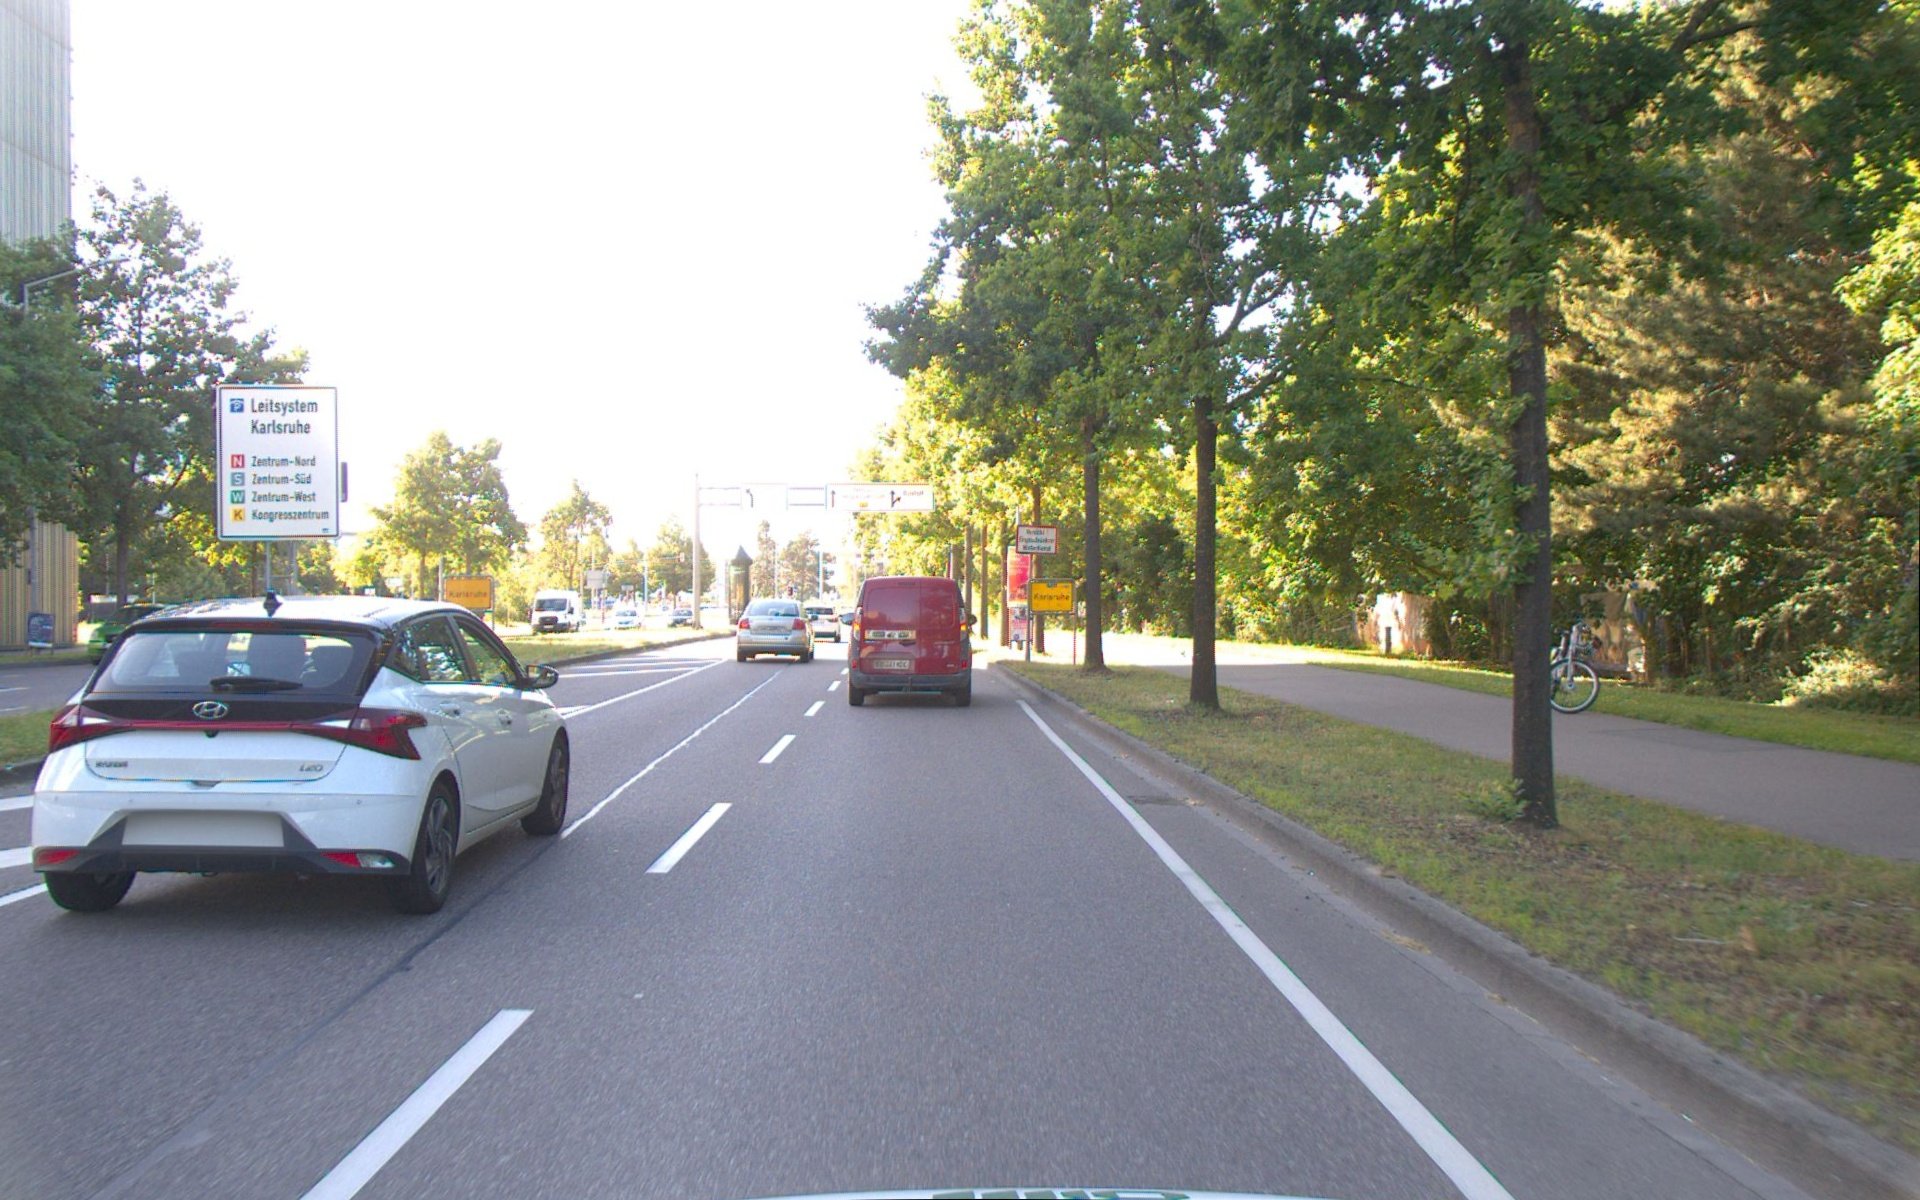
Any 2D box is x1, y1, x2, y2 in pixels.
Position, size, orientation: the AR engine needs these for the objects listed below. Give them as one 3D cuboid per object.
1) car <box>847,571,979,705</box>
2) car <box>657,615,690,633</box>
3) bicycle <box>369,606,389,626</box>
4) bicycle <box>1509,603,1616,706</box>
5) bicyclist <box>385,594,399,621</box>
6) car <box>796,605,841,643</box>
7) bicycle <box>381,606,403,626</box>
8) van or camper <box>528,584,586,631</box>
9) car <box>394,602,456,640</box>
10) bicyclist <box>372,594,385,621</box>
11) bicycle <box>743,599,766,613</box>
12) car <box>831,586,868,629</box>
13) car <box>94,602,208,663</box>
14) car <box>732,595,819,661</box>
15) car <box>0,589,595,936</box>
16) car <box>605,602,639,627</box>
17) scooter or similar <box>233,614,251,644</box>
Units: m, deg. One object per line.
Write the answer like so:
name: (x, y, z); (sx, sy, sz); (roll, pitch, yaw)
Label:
car: (-0.747, 0.517, 24.440); (1.770, 1.790, 4.003); (1, 0, -3)
car: (-18.889, 1.592, 109.112); (1.792, 1.131, 4.170); (0, 0, -5)
bicycle: (-31.259, 0.859, 89.029); (0.477, 1.021, 2.094); (0, -1, -4)
bicycle: (7.076, 0.614, 19.495); (0.757, 1.151, 1.709); (0, 0, 5)
bicyclist: (-30.260, 0.402, 88.141); (0.551, 1.417, 0.747); (0, -1, -4)
car: (-5.466, 0.899, 64.210); (1.628, 1.422, 3.556); (0, 0, -3)
bicycle: (-30.259, 0.859, 88.160); (0.559, 1.021, 2.094); (0, -1, -4)
van or camper: (-22.011, 0.385, 90.529); (1.954, 2.410, 5.989); (-2, 0, -3)
car: (-22.094, 0.847, 68.420); (1.520, 1.534, 4.023); (0, 0, -4)
bicyclist: (-31.252, 0.418, 88.872); (0.473, 1.419, 0.844); (0, -1, -4)
bicycle: (-17.589, 0.555, 141.606); (1.920, 1.187, 0.517); (0, 0, -5)
car: (-5.047, 0.331, 75.661); (1.628, 1.889, 3.556); (0, 0, -3)
car: (-20.494, 0.798, 42.040); (1.417, 1.461, 3.456); (0, 0, -4)
car: (-4.407, 0.649, 40.045); (1.804, 1.482, 4.160); (1, 0, -3)
car: (-3.240, 0.668, 8.924); (1.742, 1.433, 4.073); (1, 0, -2)
car: (-21.175, 0.909, 103.705); (1.655, 1.502, 4.045); (0, 0, -5)
scooter or similar: (-28.850, 1.166, 66.455); (0.226, 1.169, 1.327); (0, -1, -3)
